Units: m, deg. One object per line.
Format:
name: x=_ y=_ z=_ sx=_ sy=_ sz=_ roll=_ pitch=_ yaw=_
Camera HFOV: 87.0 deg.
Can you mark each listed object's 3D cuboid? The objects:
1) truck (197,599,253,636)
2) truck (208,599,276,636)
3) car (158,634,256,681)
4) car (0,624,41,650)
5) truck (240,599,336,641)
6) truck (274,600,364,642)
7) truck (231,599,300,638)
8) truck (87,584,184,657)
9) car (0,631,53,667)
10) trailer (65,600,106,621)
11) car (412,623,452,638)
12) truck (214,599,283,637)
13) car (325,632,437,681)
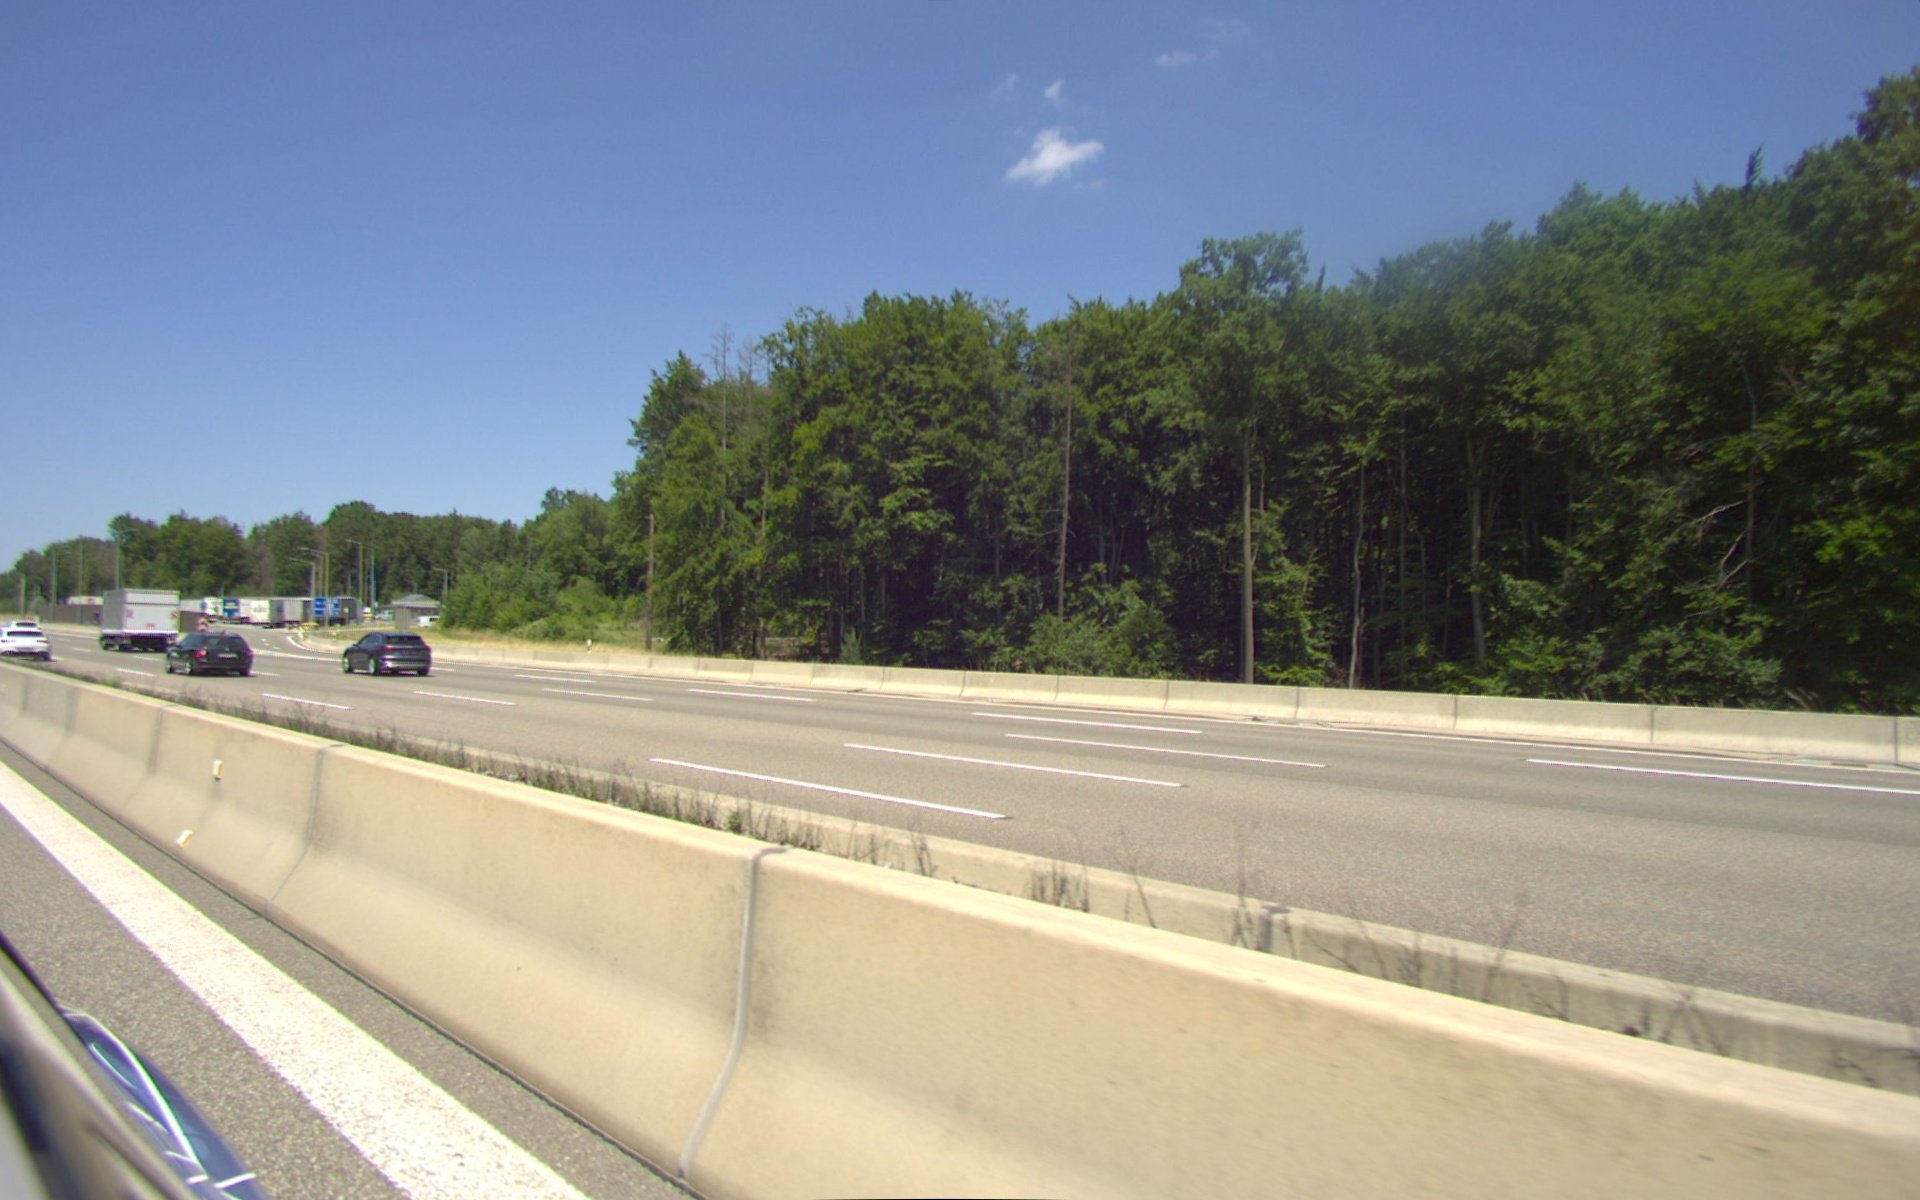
truck: x=-116.714 y=2.853 z=160.936 sx=3.179 sy=5.655 sz=8.497 roll=1 pitch=-2 yaw=-5
truck: x=-113.233 y=2.884 z=159.849 sx=3.179 sy=5.655 sz=11.549 roll=1 pitch=-2 yaw=-5
car: x=-25.613 y=1.922 z=34.363 sx=4.611 sy=1.438 sz=1.684 roll=-1 pitch=-3 yaw=41
car: x=-64.021 y=2.496 z=68.620 sx=4.686 sy=1.674 sz=1.893 roll=-1 pitch=-3 yaw=41
truck: x=-94.560 y=2.923 z=142.954 sx=3.399 sy=5.655 sz=16.725 roll=1 pitch=-2 yaw=-4
truck: x=-91.111 y=3.059 z=144.450 sx=3.175 sy=5.655 sz=16.725 roll=1 pitch=-2 yaw=-4
truck: x=-105.924 y=2.850 z=154.600 sx=3.317 sy=5.655 sz=11.549 roll=1 pitch=-2 yaw=-5
truck: x=-49.232 y=1.229 z=60.305 sx=9.463 sy=4.043 sz=2.828 roll=-1 pitch=-3 yaw=41
car: x=-39.838 y=2.029 z=42.578 sx=4.460 sy=1.405 sz=1.806 roll=-1 pitch=-3 yaw=39
trailer: x=-142.973 y=1.732 z=165.399 sx=14.602 sy=3.148 sz=2.941 roll=-1 pitch=-2 yaw=41
car: x=-72.841 y=4.185 z=139.655 sx=4.663 sy=2.029 sz=2.091 roll=2 pitch=-2 yaw=-35
truck: x=-109.366 y=2.821 z=155.902 sx=3.179 sy=5.655 sz=11.549 roll=1 pitch=-2 yaw=-5
car: x=-21.723 y=2.088 z=37.886 sx=5.186 sy=1.687 sz=2.025 roll=-1 pitch=-3 yaw=41
